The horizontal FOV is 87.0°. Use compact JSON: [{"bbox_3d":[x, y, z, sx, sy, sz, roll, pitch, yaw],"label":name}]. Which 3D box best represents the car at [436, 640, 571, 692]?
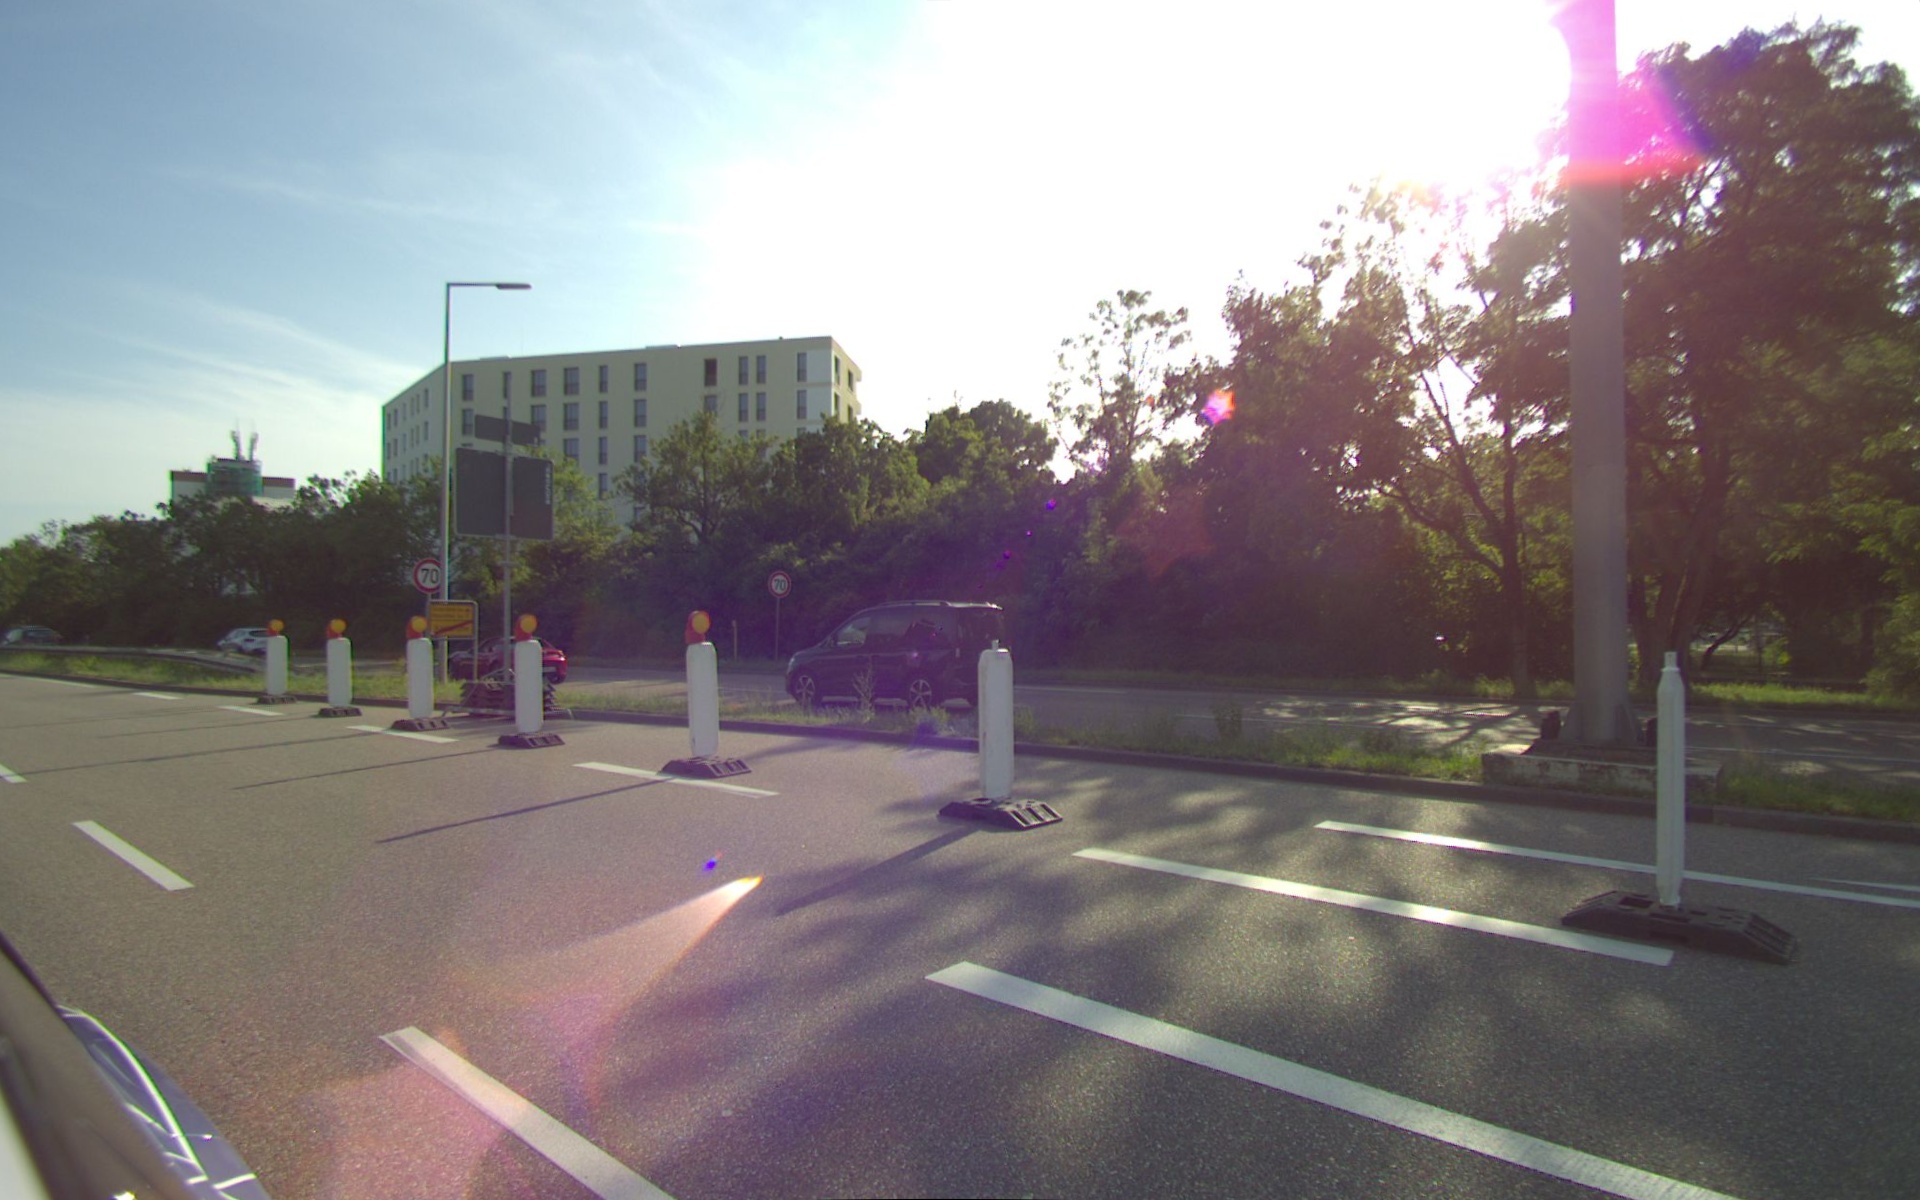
[{"bbox_3d":[-11.463,1.613,25.325,3.666,1.166,1.497,-2,-1,37],"label":"car"}]

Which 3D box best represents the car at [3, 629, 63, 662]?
[{"bbox_3d":[-49.173,2.386,53.686,3.518,1.623,1.715,-2,0,37],"label":"car"}]

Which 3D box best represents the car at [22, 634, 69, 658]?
[{"bbox_3d":[-59.745,2.987,66.090,3.934,1.452,1.652,-2,0,38],"label":"car"}]

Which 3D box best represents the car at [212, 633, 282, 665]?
[{"bbox_3d":[-33.062,2.240,46.898,4.059,1.386,1.624,-2,-1,39],"label":"car"}]

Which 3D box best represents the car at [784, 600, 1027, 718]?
[{"bbox_3d":[-1.027,0.972,17.658,4.119,1.820,1.767,-2,-2,39],"label":"car"}]
